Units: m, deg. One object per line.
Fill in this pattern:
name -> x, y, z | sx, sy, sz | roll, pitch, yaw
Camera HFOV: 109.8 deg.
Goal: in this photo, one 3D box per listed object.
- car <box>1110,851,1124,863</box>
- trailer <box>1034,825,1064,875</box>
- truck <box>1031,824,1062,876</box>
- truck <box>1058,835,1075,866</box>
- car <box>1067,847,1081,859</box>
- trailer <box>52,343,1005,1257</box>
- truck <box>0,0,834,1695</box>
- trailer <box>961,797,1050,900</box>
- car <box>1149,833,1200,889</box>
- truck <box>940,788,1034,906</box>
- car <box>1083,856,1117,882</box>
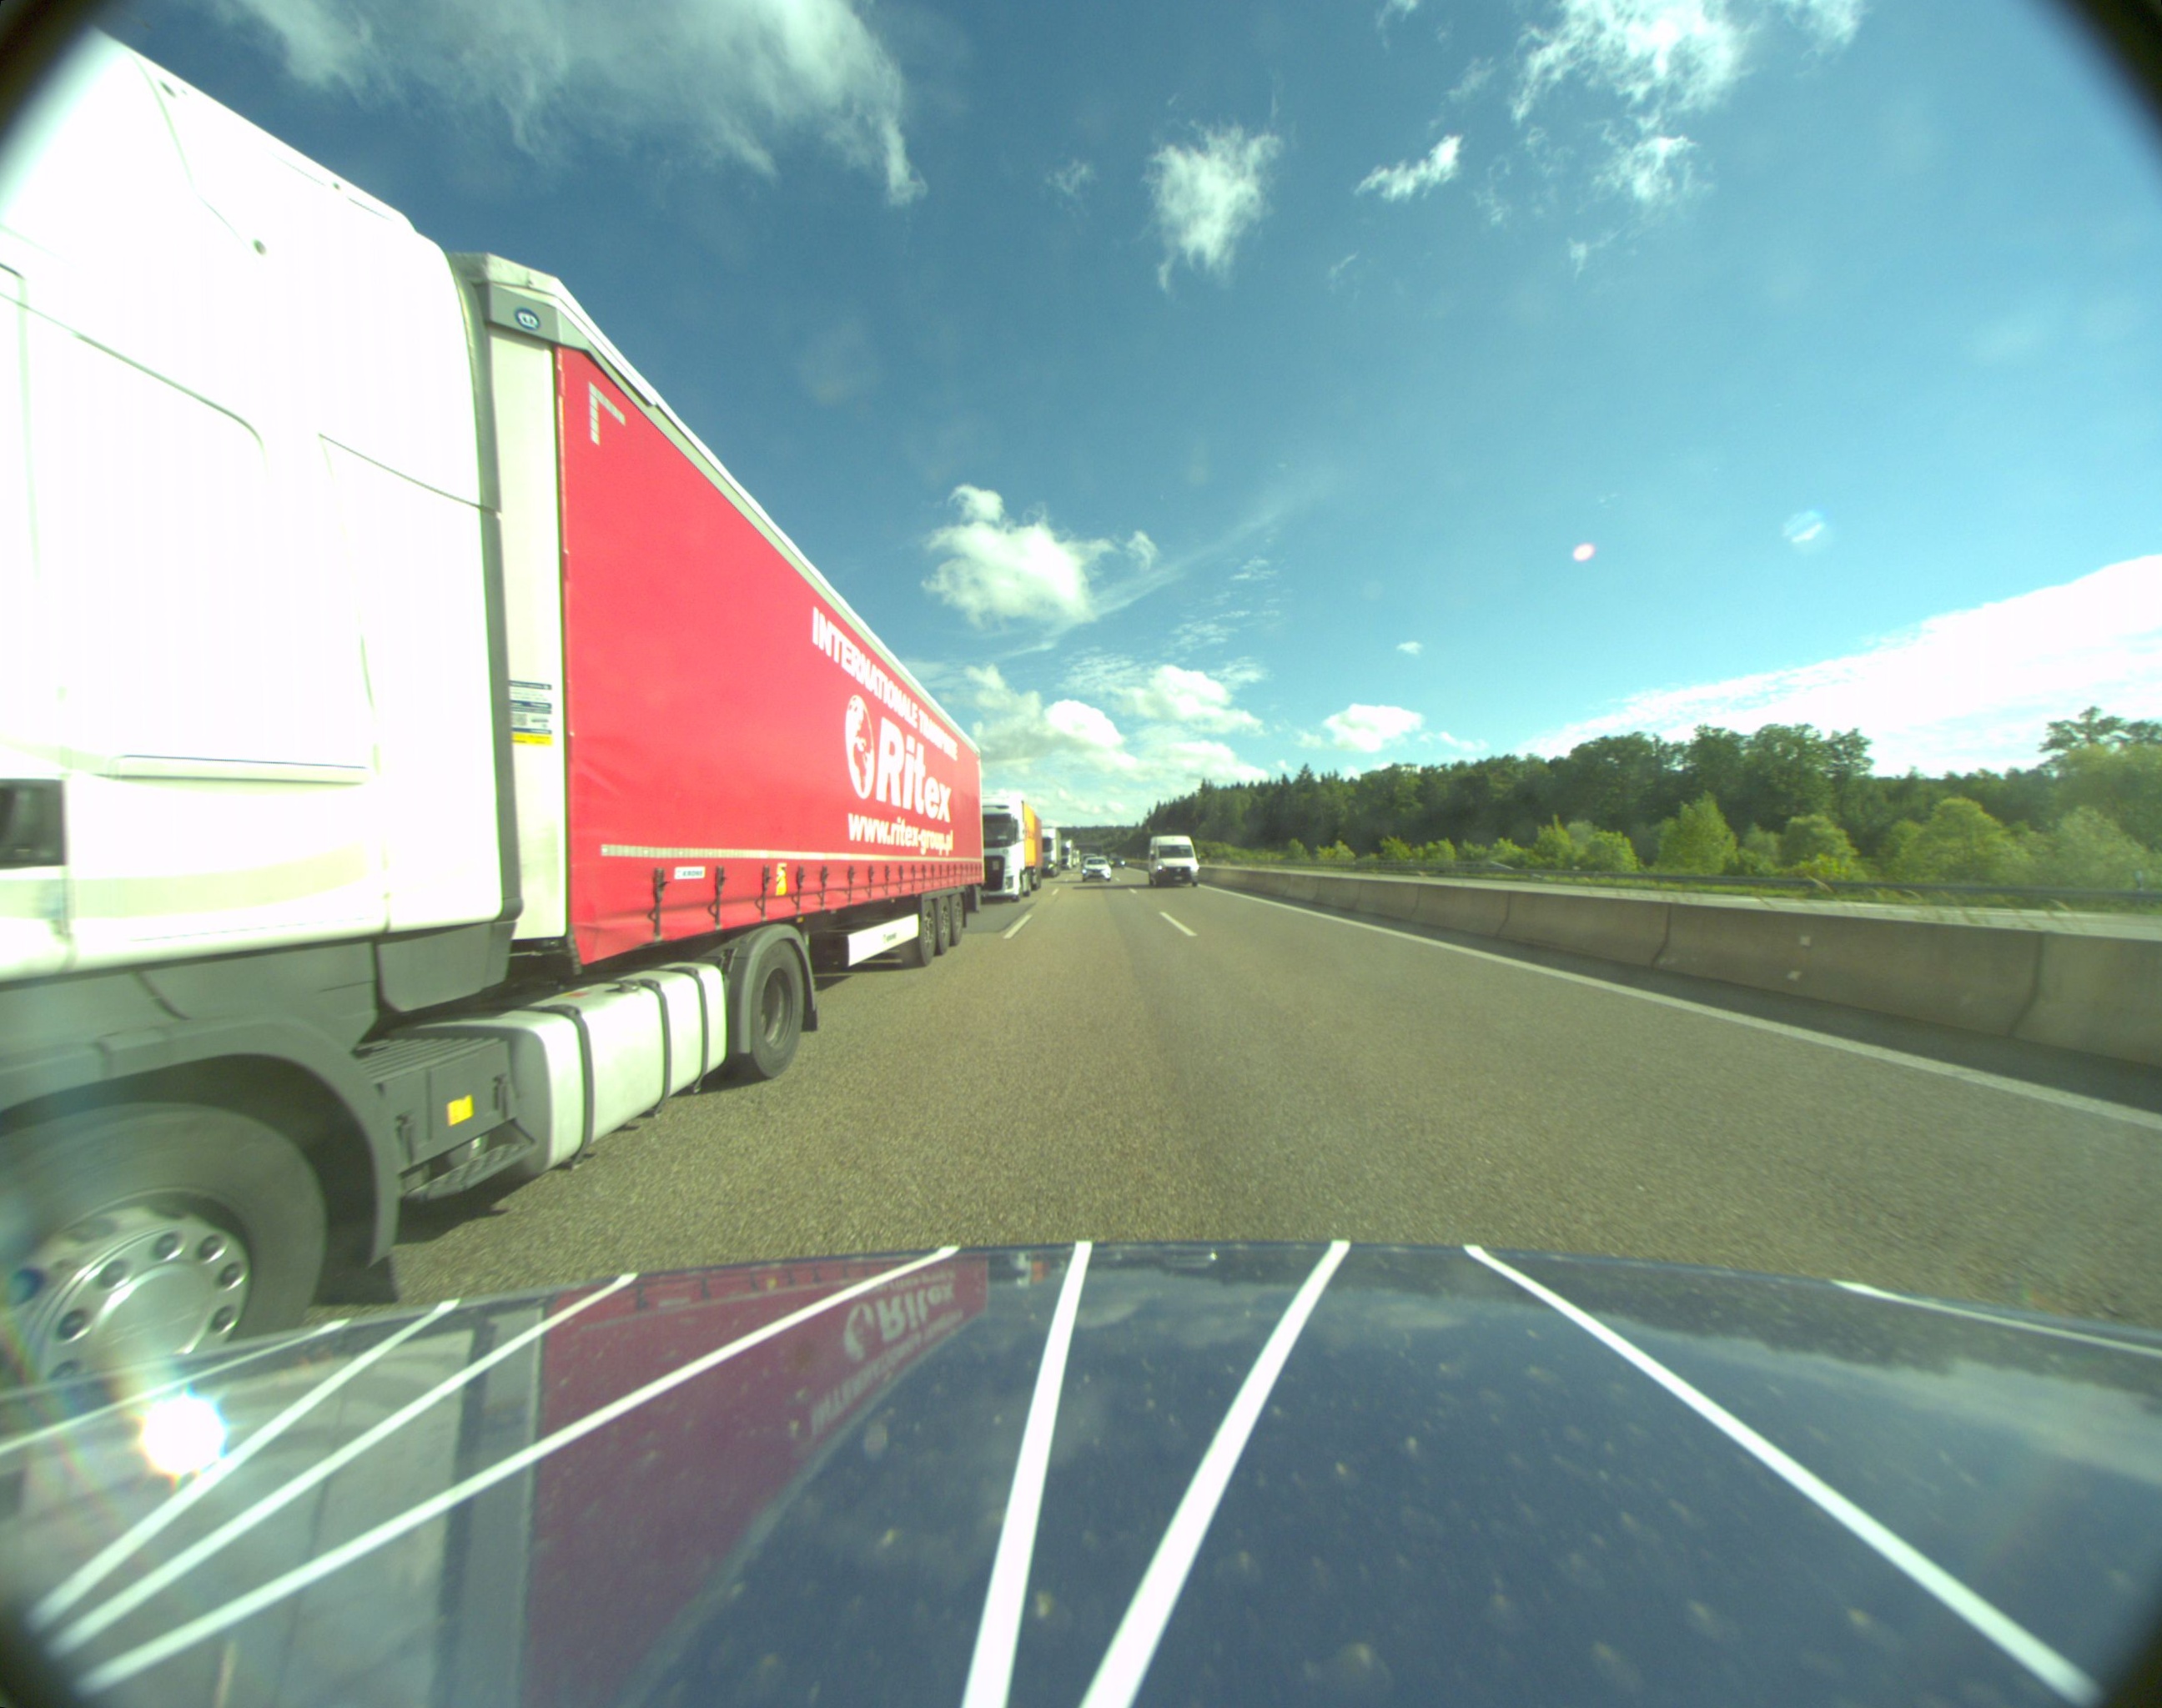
car -> 4.854, 0.362, 101.840 | 1.778, 1.533, 4.158 | 1, 1, 2
trailer -> -2.696, -0.376, 65.924 | 1.998, 3.999, 7.345 | -2, 1, 1
truck -> -2.758, -0.336, 62.124 | 1.998, 4.025, 5.869 | -2, 1, 1
truck -> -1.895, -0.482, 104.471 | 1.998, 3.999, 7.344 | -2, 1, 1
car -> -1.252, -0.122, 135.767 | 2.129, 2.030, 4.697 | 1, 0, 2
trailer -> -3.157, -0.266, 10.522 | 2.334, 3.974, 14.299 | -2, 0, 1
truck -> -3.374, -0.272, 3.142 | 2.370, 3.997, 6.106 | -2, 1, 2
trailer -> -3.253, -0.237, 36.794 | 2.624, 3.977, 13.366 | -2, 0, 1
car -> 4.684, 0.296, 38.896 | 2.020, 2.584, 6.182 | -1, 0, 2
truck -> -3.401, -0.232, 29.029 | 2.634, 3.959, 5.956 | -2, 0, 1
car -> 1.272, 0.891, 48.521 | 2.026, 1.511, 5.299 | 1, 0, 2
